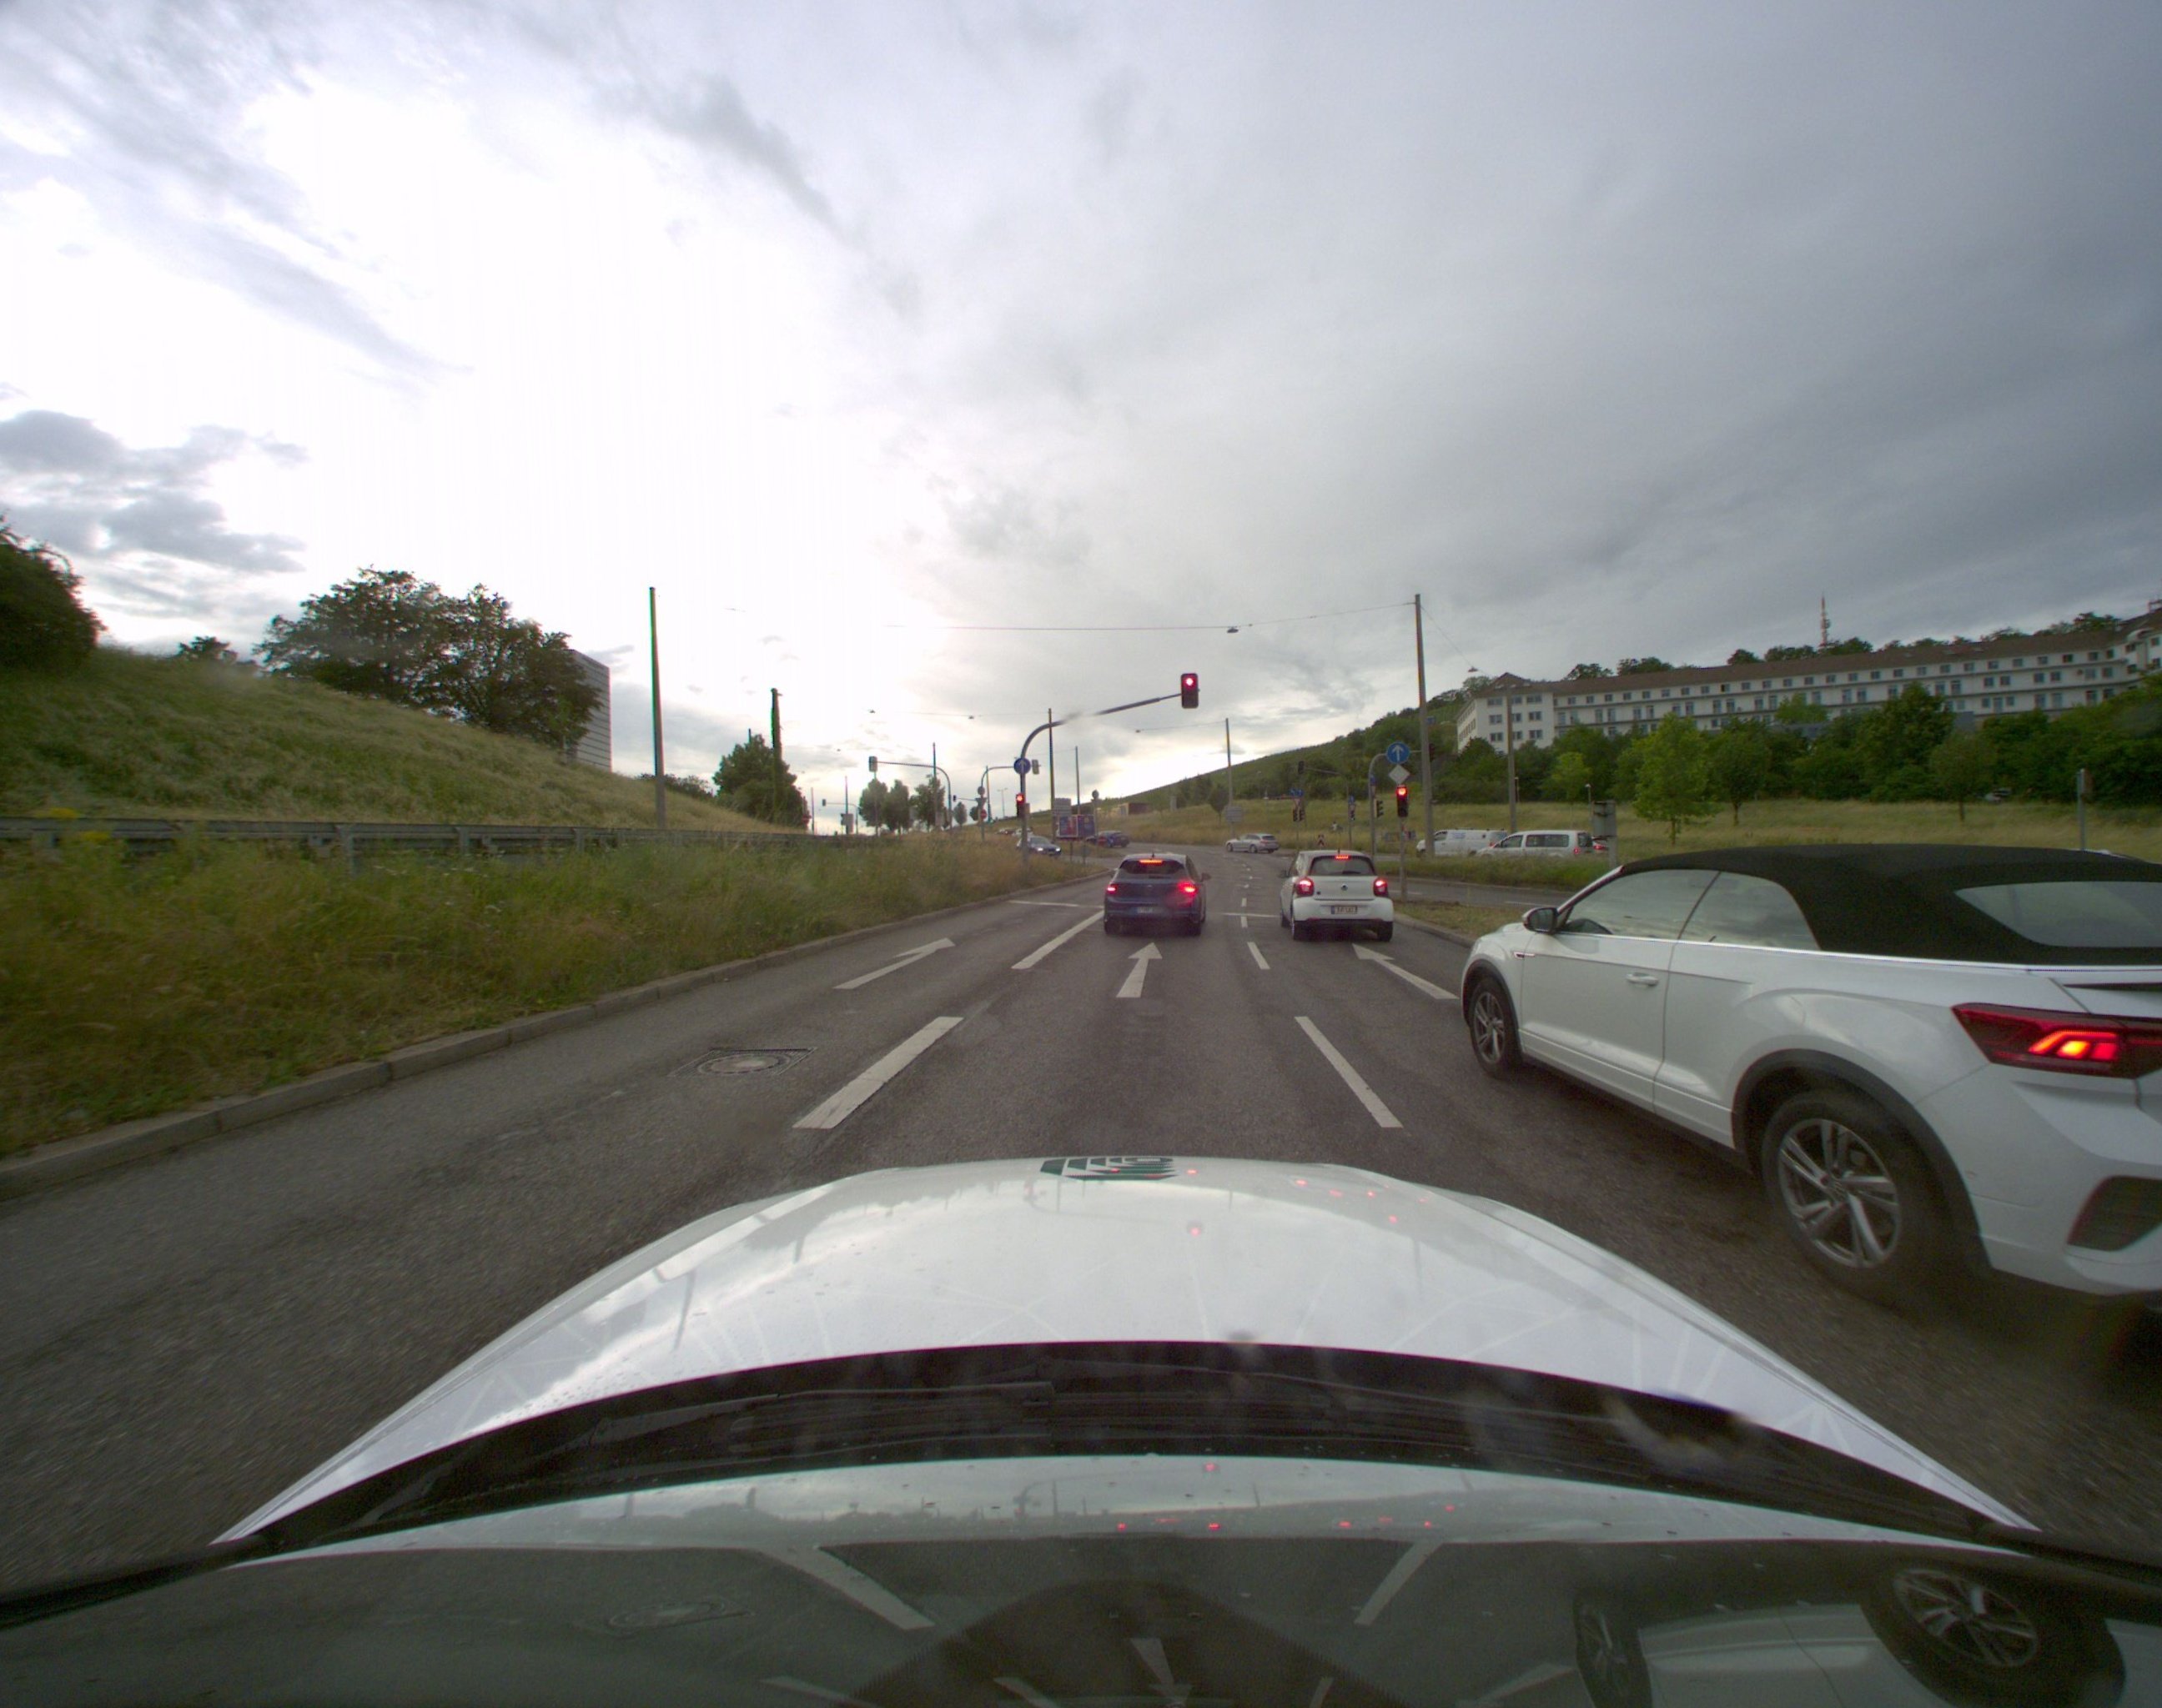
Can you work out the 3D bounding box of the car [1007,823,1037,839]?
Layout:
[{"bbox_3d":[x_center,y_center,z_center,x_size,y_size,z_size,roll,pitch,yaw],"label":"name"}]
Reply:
[{"bbox_3d":[-7.133,-2.734,98.158,2.006,1.659,4.502,0,-1,-29],"label":"car"}]

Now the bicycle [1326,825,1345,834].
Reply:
[{"bbox_3d":[22.947,-2.230,73.472,0.522,0.775,1.603,1,1,-36],"label":"bicycle"}]

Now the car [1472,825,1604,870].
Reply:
[{"bbox_3d":[19.625,-0.238,35.194,1.829,1.850,4.647,0,-1,-35],"label":"car"}]

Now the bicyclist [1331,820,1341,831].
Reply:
[{"bbox_3d":[23.008,-2.566,73.430,0.527,1.046,0.574,2,0,-36],"label":"bicyclist"}]

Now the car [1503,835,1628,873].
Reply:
[{"bbox_3d":[21.889,0.026,36.961,2.008,1.620,4.476,0,-1,-35],"label":"car"}]

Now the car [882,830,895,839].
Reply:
[{"bbox_3d":[-38.576,-3.828,163.336,1.763,1.706,3.705,2,1,-25],"label":"car"}]

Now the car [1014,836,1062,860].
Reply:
[{"bbox_3d":[-2.858,-0.349,52.972,1.703,1.475,4.257,0,-1,-25],"label":"car"}]

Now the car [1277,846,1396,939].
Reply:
[{"bbox_3d":[4.547,0.639,14.949,1.647,1.503,3.460,-1,-1,10],"label":"car"}]

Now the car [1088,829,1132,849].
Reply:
[{"bbox_3d":[2.592,-1.308,73.424,2.006,1.659,4.312,0,-1,-29],"label":"car"}]

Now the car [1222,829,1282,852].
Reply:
[{"bbox_3d":[12.779,-0.973,61.096,2.006,1.659,4.502,0,-1,-29],"label":"car"}]

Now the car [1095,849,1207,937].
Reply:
[{"bbox_3d":[1.482,0.665,15.852,1.814,1.460,3.819,0,1,10],"label":"car"}]

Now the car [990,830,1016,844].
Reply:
[{"bbox_3d":[-10.434,-2.234,108.641,2.003,1.659,4.507,0,-1,-25],"label":"car"}]

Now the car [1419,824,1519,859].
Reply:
[{"bbox_3d":[21.474,-0.659,45.270,2.142,1.794,4.696,0,-1,-29],"label":"car"}]

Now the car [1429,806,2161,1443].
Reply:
[{"bbox_3d":[3.423,0.669,4.088,1.706,1.553,4.232,0,-1,2],"label":"car"}]

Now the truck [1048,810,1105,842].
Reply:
[{"bbox_3d":[-0.533,-2.905,85.533,3.278,3.074,6.117,2,1,-31],"label":"truck"}]

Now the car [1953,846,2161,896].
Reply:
[{"bbox_3d":[31.989,0.526,26.658,2.006,1.477,4.377,0,-1,-31],"label":"car"}]
